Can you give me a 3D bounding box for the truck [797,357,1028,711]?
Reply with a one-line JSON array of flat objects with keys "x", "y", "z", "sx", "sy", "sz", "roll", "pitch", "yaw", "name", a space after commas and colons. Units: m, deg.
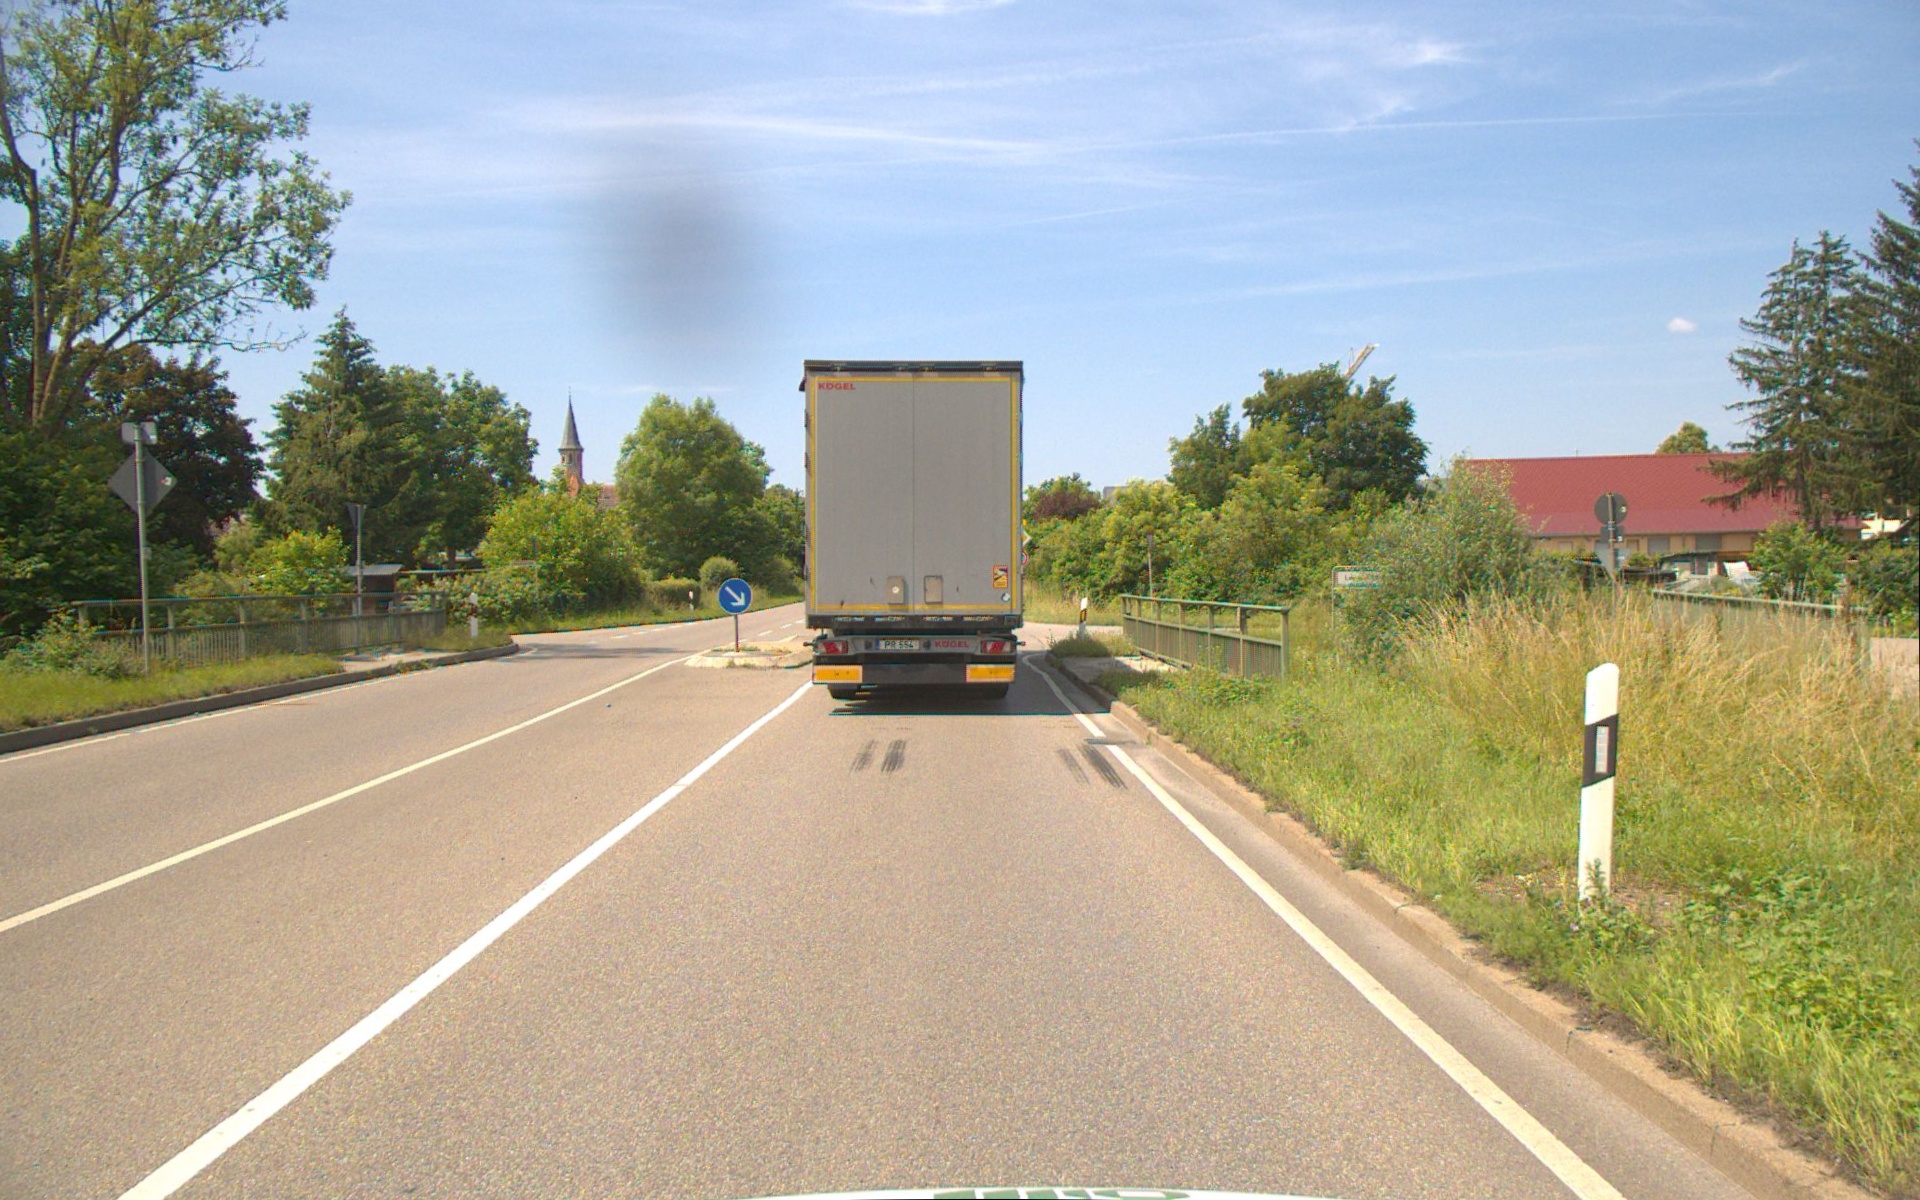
[{"x": -0.705, "y": -0.776, "z": 23.151, "sx": 2.594, "sy": 3.985, "sz": 8.821, "roll": 0, "pitch": 0, "yaw": -2, "name": "truck"}]
